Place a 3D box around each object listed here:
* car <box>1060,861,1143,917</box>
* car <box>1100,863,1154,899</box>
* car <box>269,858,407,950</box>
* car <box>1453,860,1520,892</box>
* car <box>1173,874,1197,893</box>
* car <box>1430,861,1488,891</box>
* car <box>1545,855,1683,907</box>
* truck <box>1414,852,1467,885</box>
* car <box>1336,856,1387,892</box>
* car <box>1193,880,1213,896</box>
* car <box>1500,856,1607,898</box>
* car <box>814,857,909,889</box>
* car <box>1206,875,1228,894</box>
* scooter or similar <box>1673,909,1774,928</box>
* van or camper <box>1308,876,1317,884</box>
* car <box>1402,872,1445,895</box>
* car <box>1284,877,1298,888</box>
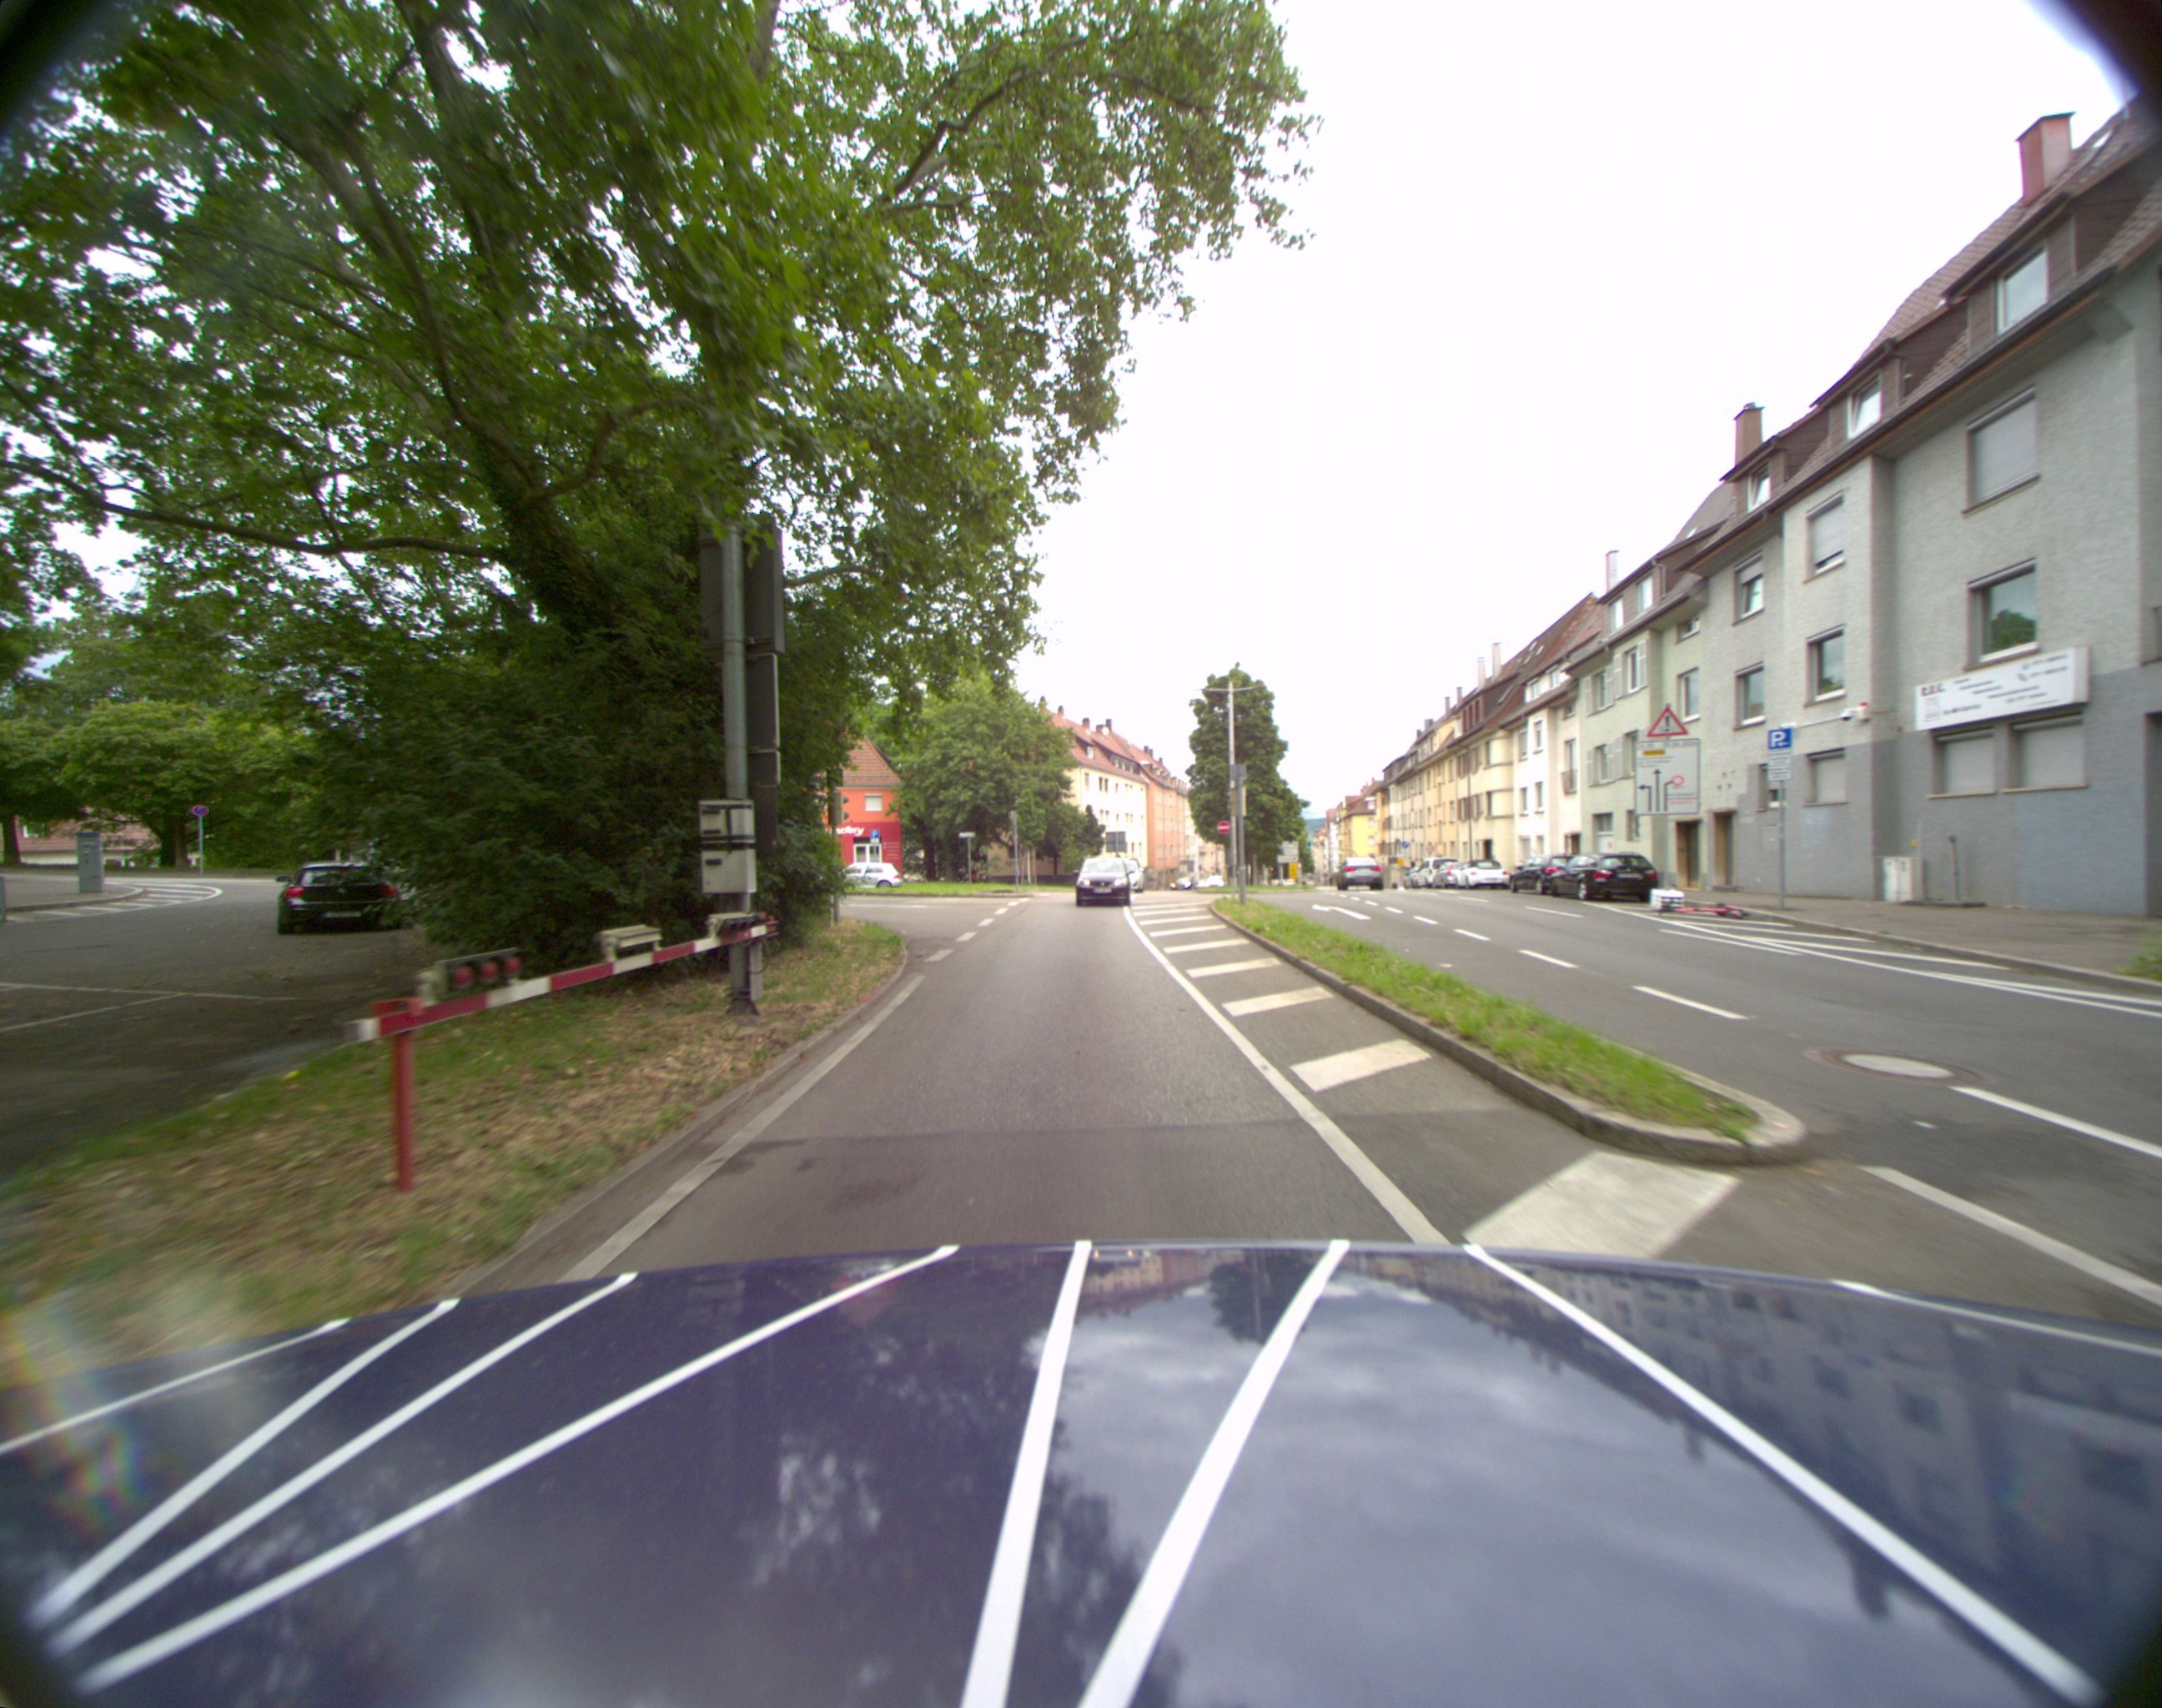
[{"bbox_3d":[0.699,1.009,22.551,1.602,1.448,3.689,-3,-2,14],"label":"car"},{"bbox_3d":[2.348,1.383,37.701,1.778,1.597,4.170,-4,-4,14],"label":"car"},{"bbox_3d":[-15.798,0.969,16.308,1.867,1.477,4.412,3,1,-43],"label":"car"},{"bbox_3d":[19.753,1.080,37.183,1.996,1.465,4.164,-1,-2,16],"label":"car"},{"bbox_3d":[9.482,2.628,68.825,1.782,1.583,3.538,1,0,13],"label":"car"},{"bbox_3d":[20.830,1.247,42.040,1.996,1.543,4.388,-1,-2,14],"label":"car"},{"bbox_3d":[15.878,0.793,22.946,1.996,1.392,4.524,-1,-2,16],"label":"car"},{"bbox_3d":[22.384,0.957,47.545,1.996,1.908,5.355,-1,-2,14],"label":"truck"},{"bbox_3d":[14.378,0.970,39.183,1.872,1.688,4.941,-1,0,13],"label":"car"},{"bbox_3d":[13.276,3.654,82.643,1.782,1.583,3.538,1,0,13],"label":"car"},{"bbox_3d":[17.224,0.803,27.935,1.997,1.414,4.216,-1,-1,12],"label":"car"},{"bbox_3d":[-10.332,0.934,36.083,4.131,1.419,1.862,1,-3,-9],"label":"car"},{"bbox_3d":[12.551,2.802,70.180,1.782,1.583,3.538,1,0,13],"label":"car"},{"bbox_3d":[12.936,1.290,15.338,1.126,0.286,1.099,0,0,0],"label":"scooter or similar"},{"bbox_3d":[55.998,6.262,183.576,1.910,1.750,4.662,-2,-3,16],"label":"van or camper"},{"bbox_3d":[23.945,2.090,53.262,1.996,1.543,4.164,-1,-2,14],"label":"car"},{"bbox_3d":[28.057,3.811,101.542,1.748,1.458,4.593,-1,-3,15],"label":"car"}]
